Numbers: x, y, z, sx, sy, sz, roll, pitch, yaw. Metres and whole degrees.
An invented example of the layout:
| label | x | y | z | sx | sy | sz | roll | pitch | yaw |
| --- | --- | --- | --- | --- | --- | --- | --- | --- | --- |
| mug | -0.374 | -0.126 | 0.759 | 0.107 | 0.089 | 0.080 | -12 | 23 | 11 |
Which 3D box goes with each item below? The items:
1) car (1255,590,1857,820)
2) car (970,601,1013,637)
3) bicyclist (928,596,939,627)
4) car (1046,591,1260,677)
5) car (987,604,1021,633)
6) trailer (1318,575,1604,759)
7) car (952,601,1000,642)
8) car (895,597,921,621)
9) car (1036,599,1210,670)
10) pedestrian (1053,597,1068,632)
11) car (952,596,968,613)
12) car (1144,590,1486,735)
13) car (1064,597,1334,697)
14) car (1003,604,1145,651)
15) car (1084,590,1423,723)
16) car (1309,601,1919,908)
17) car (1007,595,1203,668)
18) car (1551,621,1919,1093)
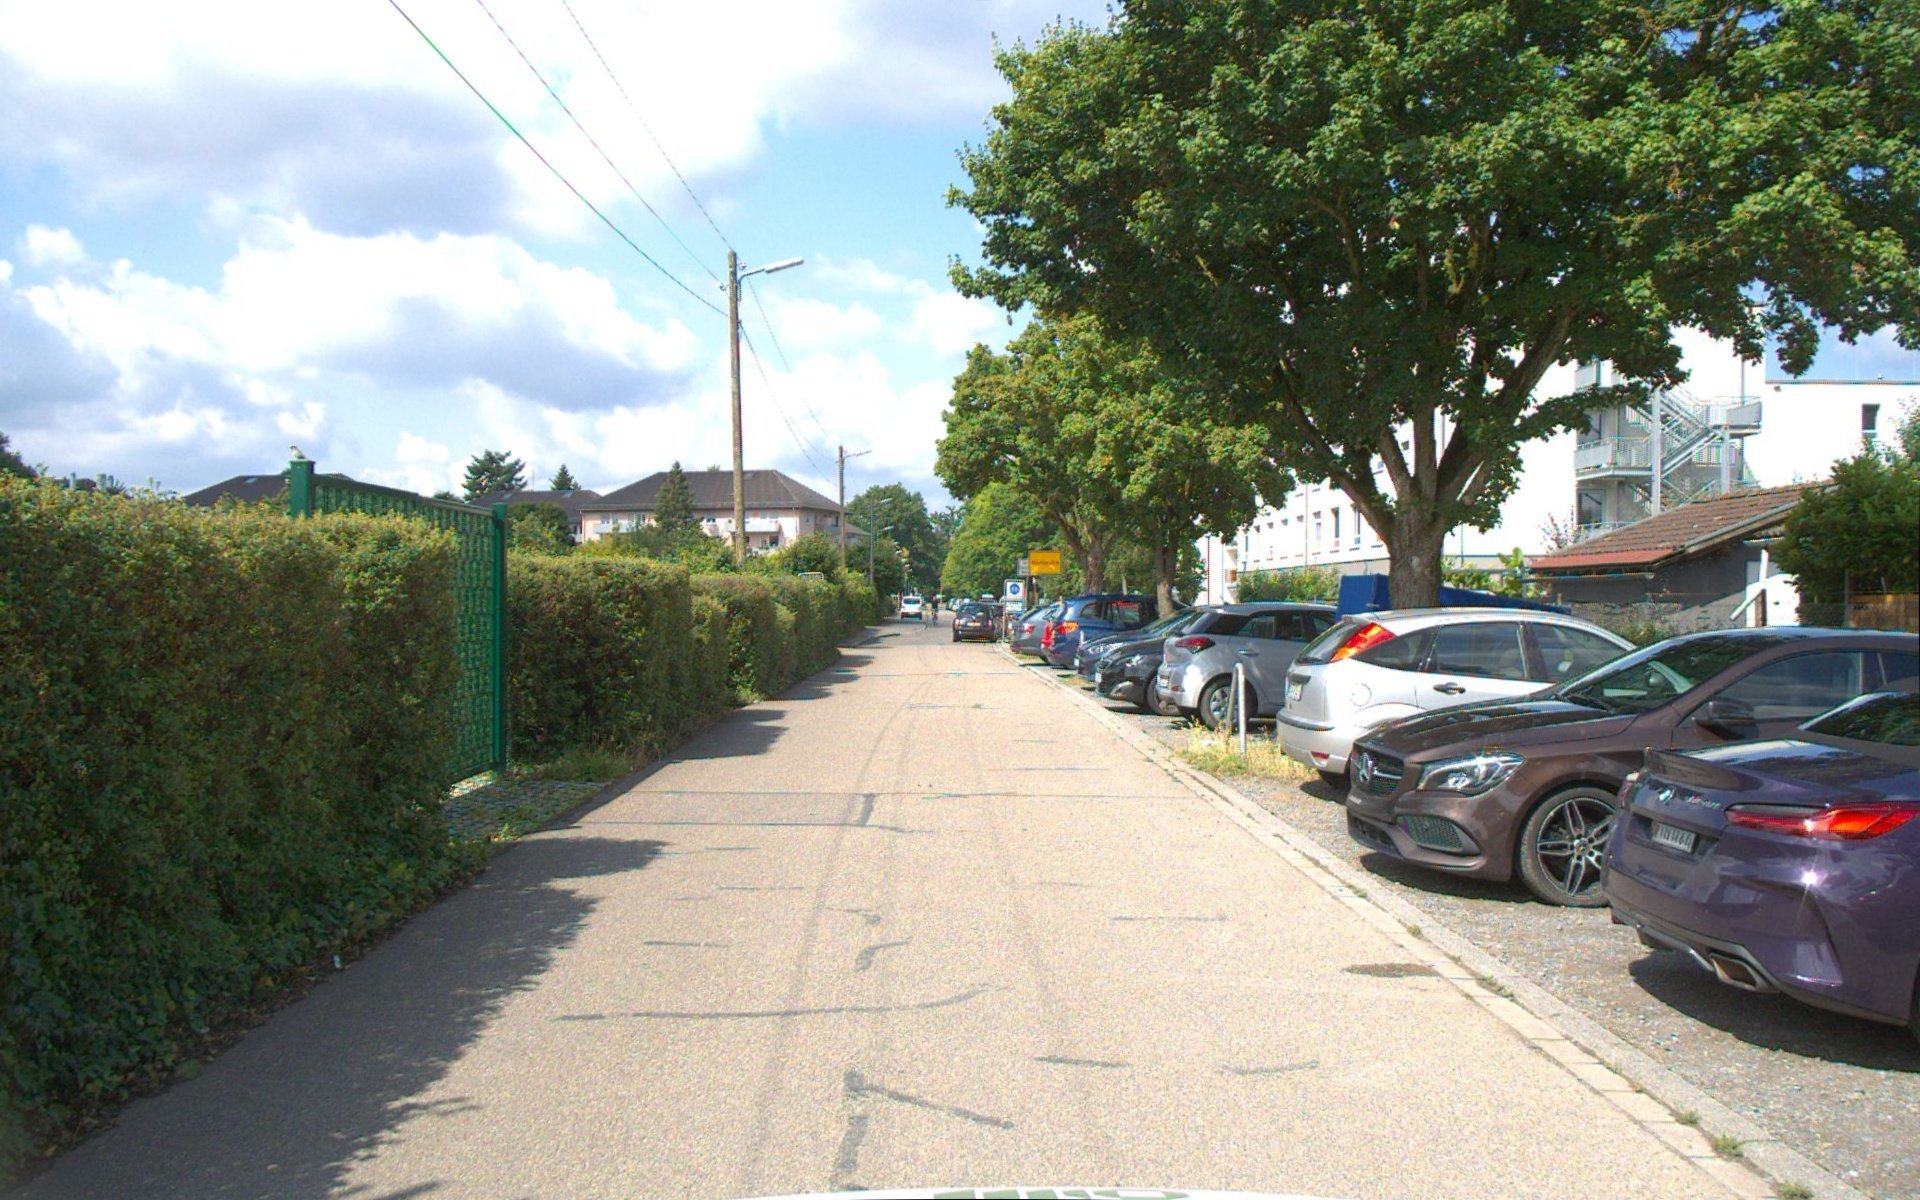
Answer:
| label | x | y | z | sx | sy | sz | roll | pitch | yaw |
| --- | --- | --- | --- | --- | --- | --- | --- | --- | --- |
| car | 4.462 | 0.759 | 12.894 | 3.980 | 1.538 | 1.958 | 2 | 0 | 2 |
| car | 1.482 | 0.882 | 76.014 | 1.628 | 1.579 | 3.639 | 2 | 0 | 6 |
| bicyclist | -1.653 | 0.725 | 103.887 | 0.645 | 1.884 | 1.043 | -1 | 0 | 1 |
| car | 3.807 | 0.670 | 33.124 | 4.069 | 1.666 | 1.878 | 0 | 0 | 0 |
| car | 2.280 | 0.977 | 86.717 | 1.629 | 1.460 | 3.541 | 2 | 0 | 0 |
| trailer | 5.127 | 0.660 | 17.105 | 2.402 | 1.750 | 1.517 | 2 | 1 | -5 |
| car | 0.644 | 0.825 | 64.296 | 1.628 | 1.532 | 4.002 | 2 | 0 | 4 |
| car | -4.162 | 0.748 | 132.902 | 1.863 | 1.846 | 4.000 | 2 | 0 | 1 |
| car | 3.631 | 0.768 | 37.373 | 3.732 | 1.559 | 1.761 | 0 | 0 | -1 |
| pedestrian | 5.068 | 0.725 | 83.508 | 0.597 | 1.776 | 0.722 | 1 | -1 | 12 |
| car | -0.022 | 0.574 | 212.452 | 1.953 | 2.049 | 3.999 | 2 | 0 | -2 |
| car | 4.207 | 0.731 | 19.970 | 3.650 | 1.567 | 1.848 | 2 | 0 | -5 |
| car | 3.989 | 0.782 | 28.117 | 4.248 | 1.518 | 1.975 | 2 | 0 | -2 |
| car | 3.483 | 0.836 | 50.660 | 4.267 | 1.416 | 1.719 | 0 | -1 | 3 |
| car | 3.906 | 0.747 | 22.546 | 4.215 | 1.622 | 1.999 | 2 | 0 | -2 |
| car | 4.183 | 0.807 | 9.281 | 3.985 | 1.481 | 1.868 | 2 | 0 | -4 |
| car | 3.438 | 0.750 | 39.778 | 4.457 | 1.606 | 1.808 | 2 | 0 | -3 |
| car | 4.448 | 0.865 | 6.119 | 3.829 | 1.448 | 1.958 | 2 | 0 | 2 |
